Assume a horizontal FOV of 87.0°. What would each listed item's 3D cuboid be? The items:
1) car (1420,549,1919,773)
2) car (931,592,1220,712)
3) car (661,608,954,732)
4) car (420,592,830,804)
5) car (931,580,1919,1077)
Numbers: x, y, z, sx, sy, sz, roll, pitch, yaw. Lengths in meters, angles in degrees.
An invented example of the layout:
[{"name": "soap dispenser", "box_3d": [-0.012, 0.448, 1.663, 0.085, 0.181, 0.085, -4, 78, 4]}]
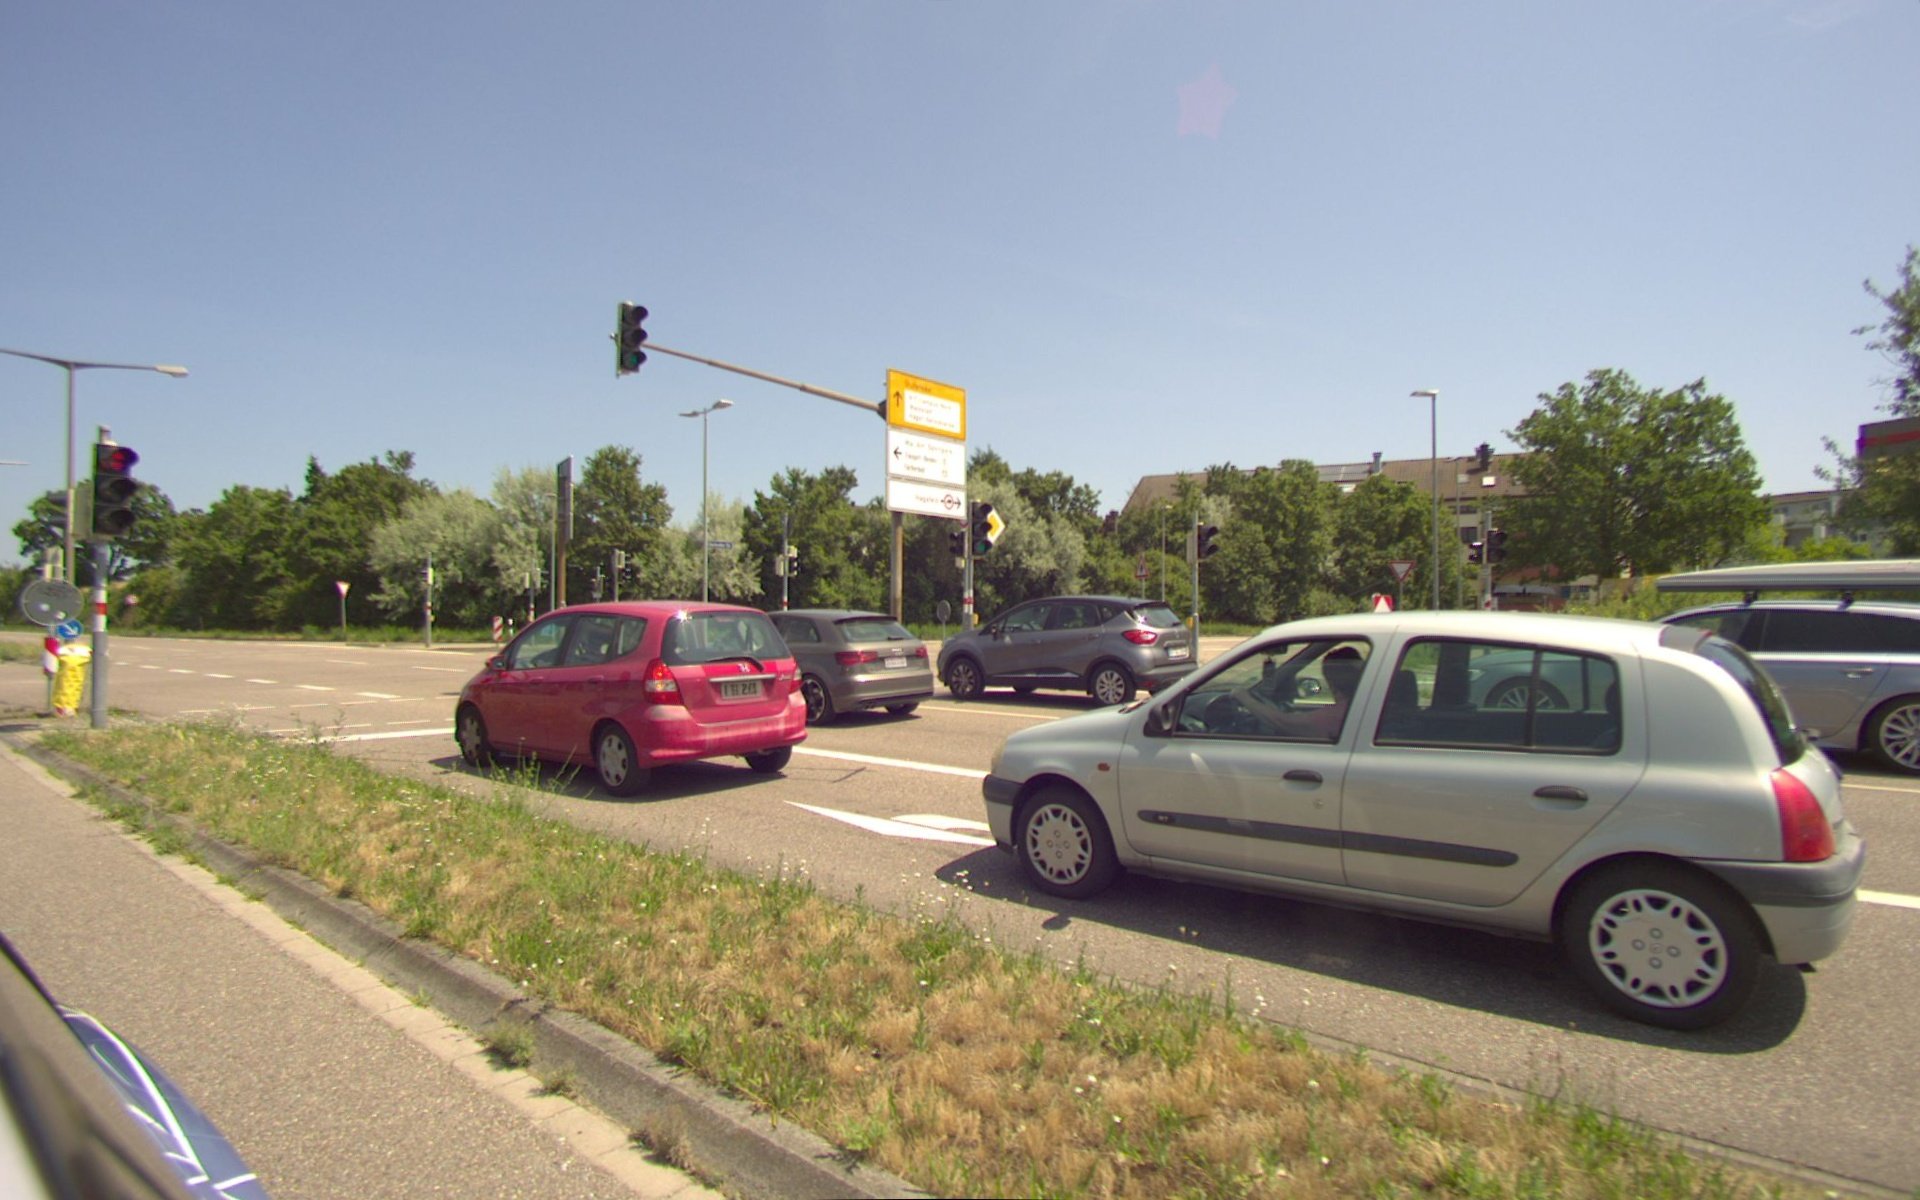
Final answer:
[{"name": "car", "box_3d": [7.287, 0.485, 9.524, 5.021, 1.763, 1.944, -1, 0, 42]}, {"name": "car", "box_3d": [1.617, 0.694, 14.958, 3.996, 1.551, 1.642, -1, 0, 40]}, {"name": "car", "box_3d": [-2.122, 0.837, 13.446, 3.999, 1.395, 1.581, -1, -1, 40]}, {"name": "car", "box_3d": [-3.134, 0.734, 9.091, 3.996, 1.502, 1.642, -1, -2, 40]}, {"name": "car", "box_3d": [1.824, 0.709, 4.722, 3.850, 1.434, 1.545, -2, -1, 39]}]
